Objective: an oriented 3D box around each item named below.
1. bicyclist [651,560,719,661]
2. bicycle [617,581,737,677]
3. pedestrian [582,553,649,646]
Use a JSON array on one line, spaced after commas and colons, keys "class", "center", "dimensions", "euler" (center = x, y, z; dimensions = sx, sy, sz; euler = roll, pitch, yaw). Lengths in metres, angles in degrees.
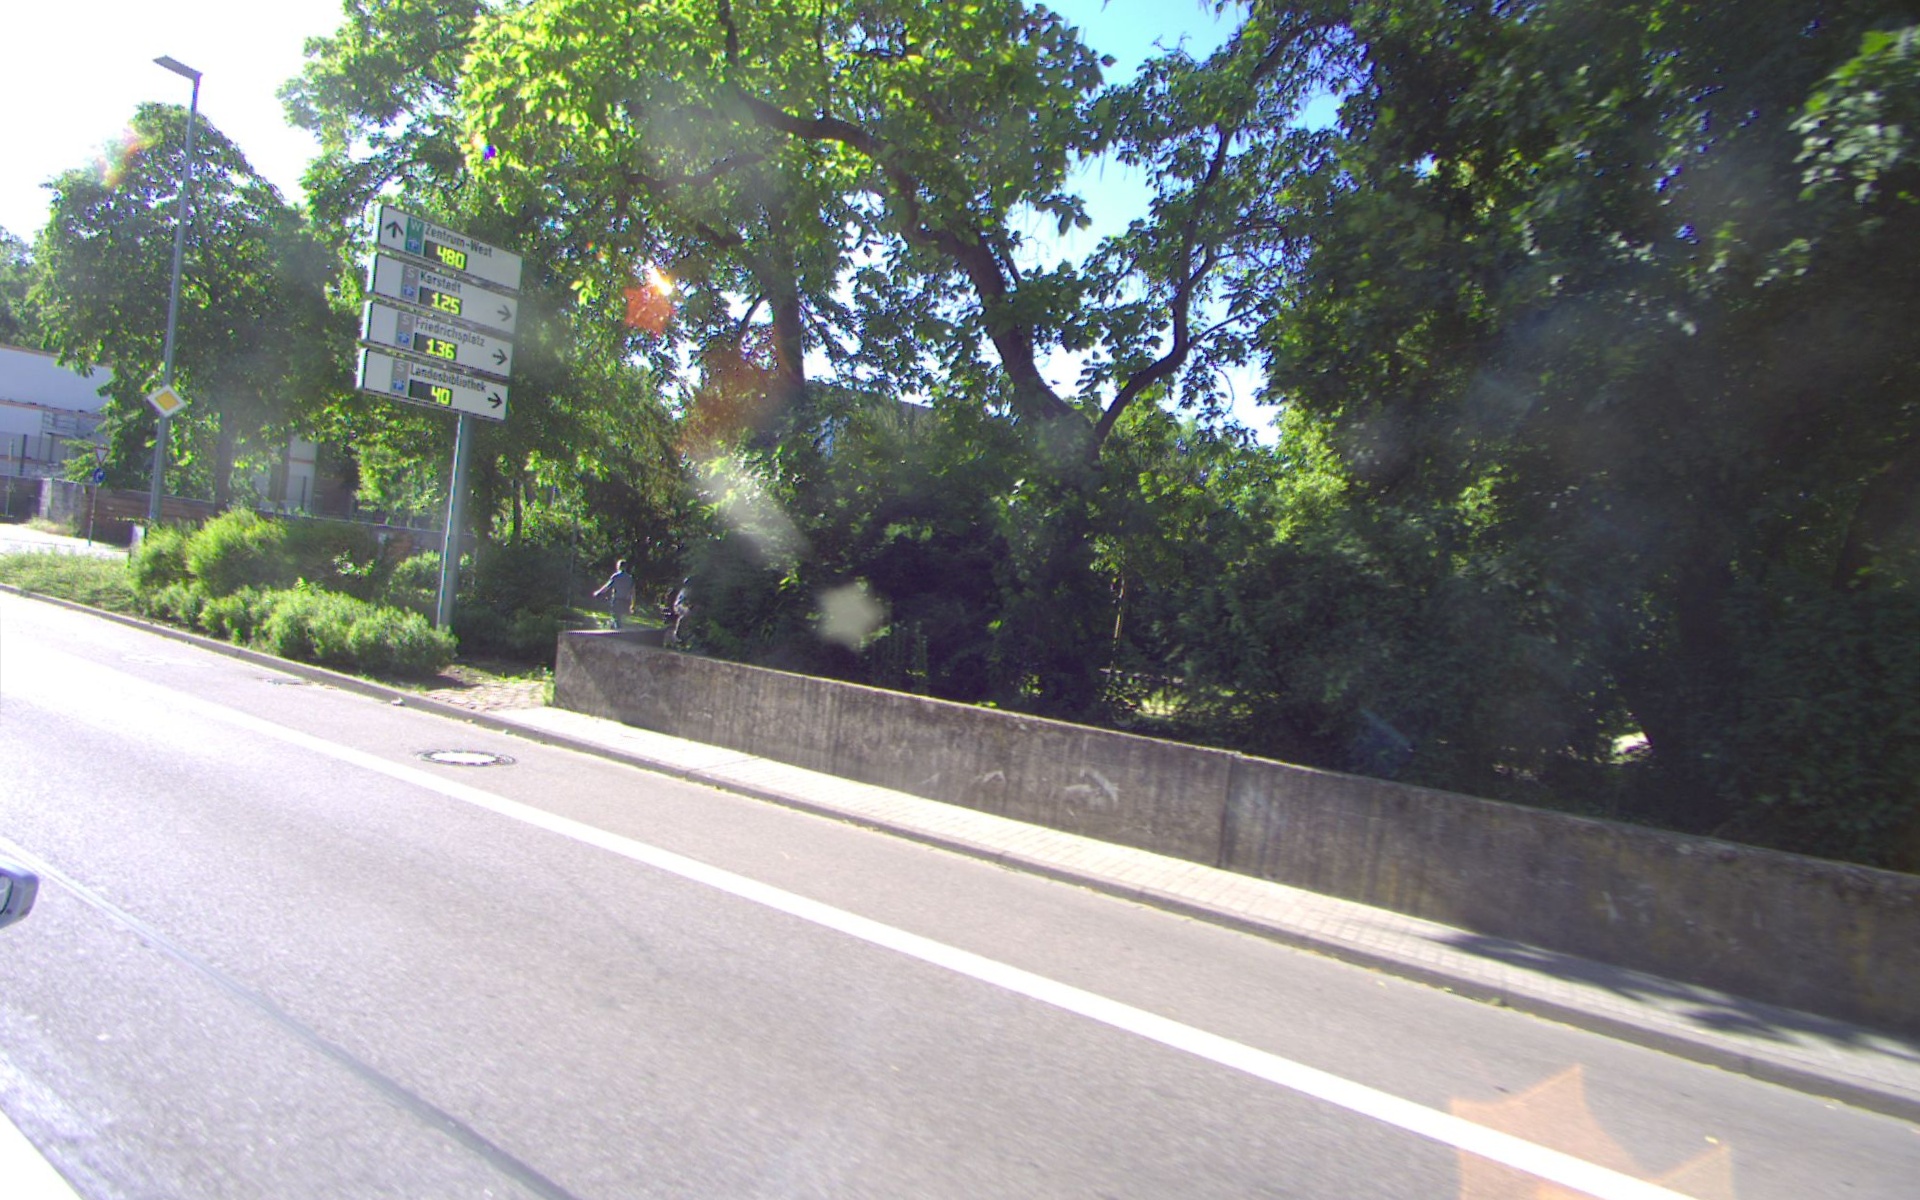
[{"class": "bicyclist", "center": [-4.425, 0.172, 16.200], "dimensions": [0.561, 1.525, 0.688], "euler": [7, 0, 31]}, {"class": "bicycle", "center": [-4.595, 0.461, 16.289], "dimensions": [1.878, 1.307, 0.623], "euler": [7, 0, 31]}, {"class": "pedestrian", "center": [-6.853, -0.004, 20.041], "dimensions": [0.859, 1.723, 0.738], "euler": [7, 0, 2]}]
